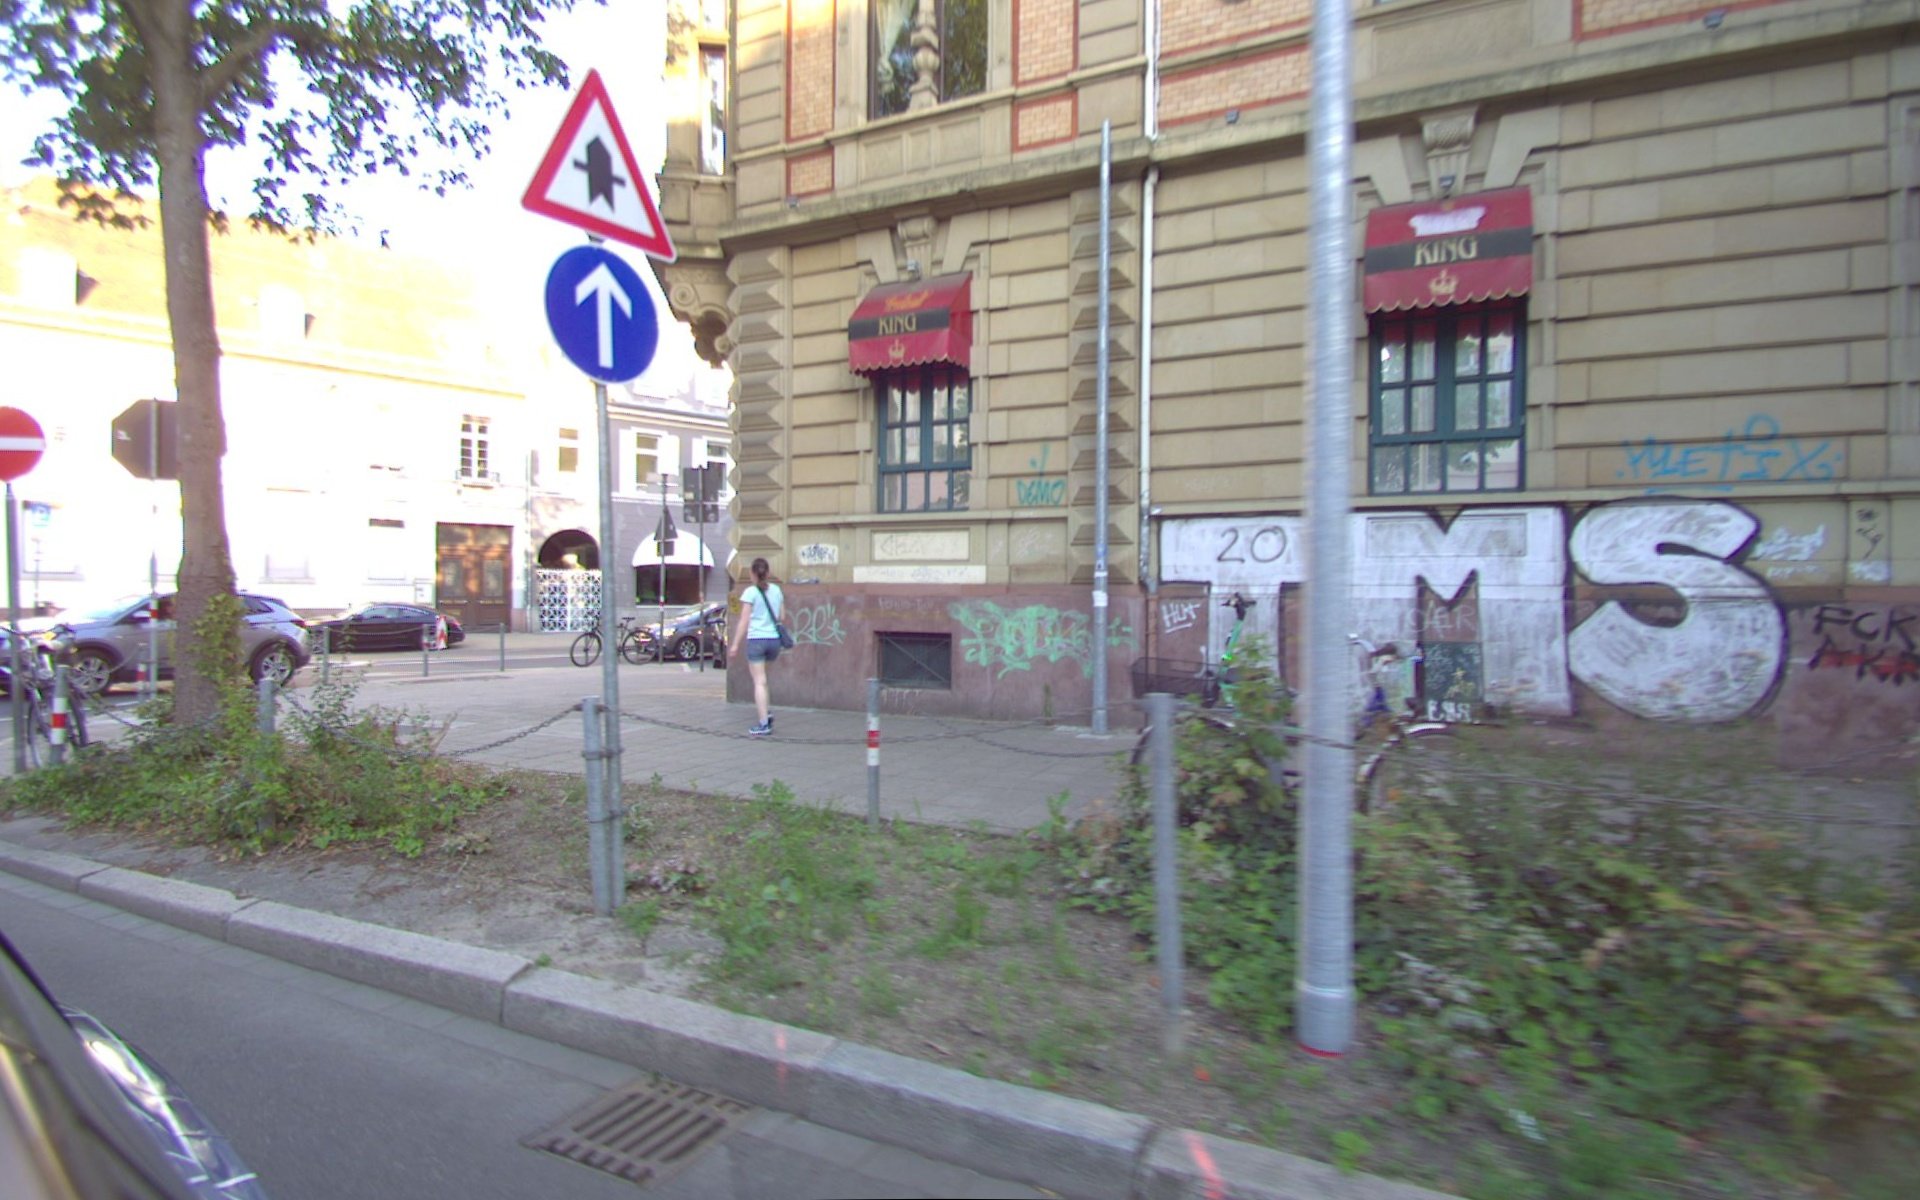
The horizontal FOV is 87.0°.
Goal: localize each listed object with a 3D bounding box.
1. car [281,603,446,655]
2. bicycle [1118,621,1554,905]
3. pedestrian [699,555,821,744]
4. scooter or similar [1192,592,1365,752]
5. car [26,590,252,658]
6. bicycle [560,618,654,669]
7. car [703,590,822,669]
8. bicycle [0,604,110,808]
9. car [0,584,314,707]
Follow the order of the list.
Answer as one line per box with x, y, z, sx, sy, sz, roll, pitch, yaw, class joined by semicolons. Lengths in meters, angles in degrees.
-16.650;0.774;28.323;3.755;1.335;1.837;1;0;-39;car
1.667;0.677;4.679;1.787;1.116;0.497;0;2;21;bicycle
-1.788;0.409;9.003;0.644;1.577;0.908;-3;2;-41;pedestrian
2.562;0.562;8.171;1.267;1.207;0.382;-1;1;27;scooter or similar
-20.217;0.566;25.094;4.203;1.541;1.836;1;0;-40;car
-7.062;0.864;20.253;1.733;0.979;0.540;0;-3;-24;bicycle
-4.168;0.648;20.801;1.857;1.441;4.373;0;-3;-18;car
-6.649;0.681;7.224;0.794;1.234;2.421;-4;2;-39;bicycle
-12.607;0.595;15.432;1.934;1.582;4.328;1;0;21;car
